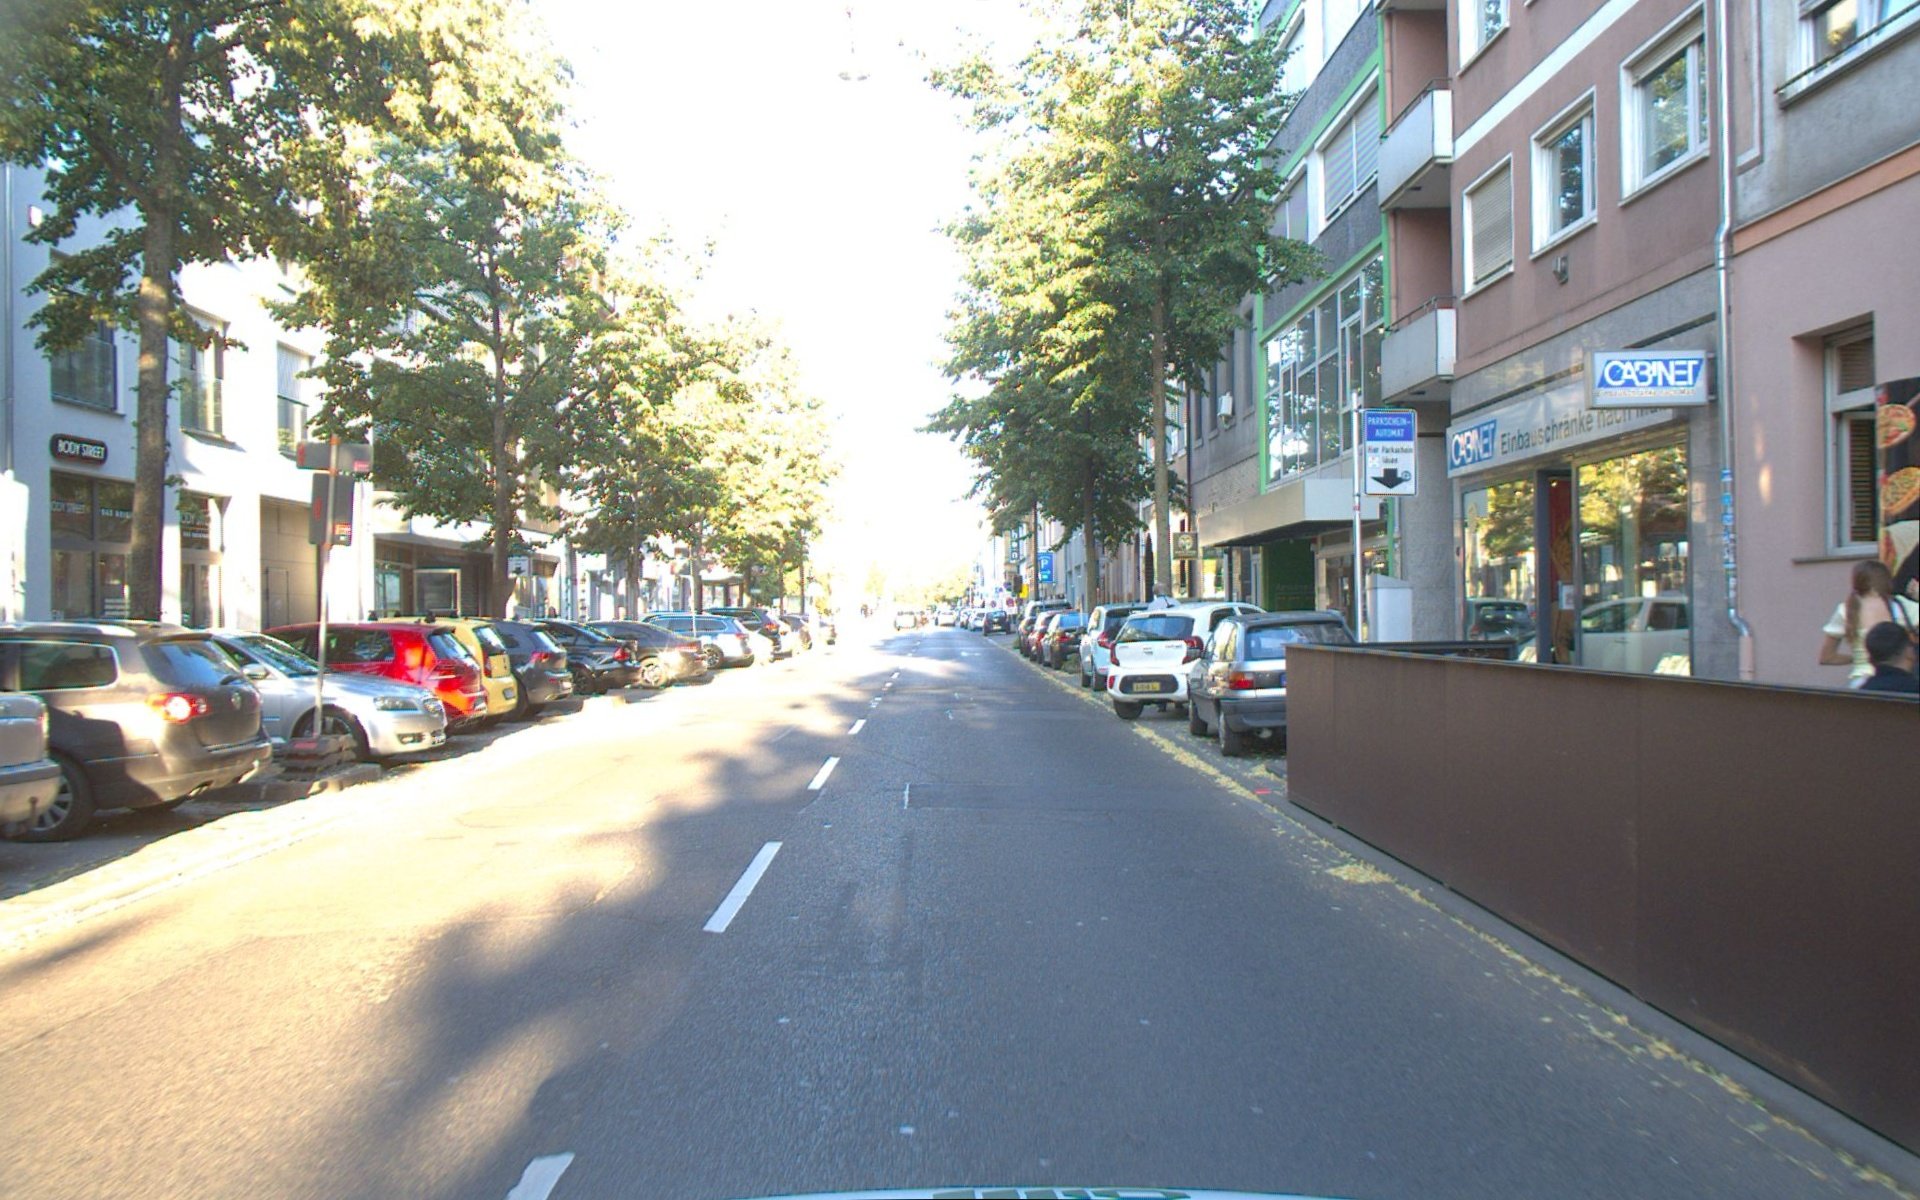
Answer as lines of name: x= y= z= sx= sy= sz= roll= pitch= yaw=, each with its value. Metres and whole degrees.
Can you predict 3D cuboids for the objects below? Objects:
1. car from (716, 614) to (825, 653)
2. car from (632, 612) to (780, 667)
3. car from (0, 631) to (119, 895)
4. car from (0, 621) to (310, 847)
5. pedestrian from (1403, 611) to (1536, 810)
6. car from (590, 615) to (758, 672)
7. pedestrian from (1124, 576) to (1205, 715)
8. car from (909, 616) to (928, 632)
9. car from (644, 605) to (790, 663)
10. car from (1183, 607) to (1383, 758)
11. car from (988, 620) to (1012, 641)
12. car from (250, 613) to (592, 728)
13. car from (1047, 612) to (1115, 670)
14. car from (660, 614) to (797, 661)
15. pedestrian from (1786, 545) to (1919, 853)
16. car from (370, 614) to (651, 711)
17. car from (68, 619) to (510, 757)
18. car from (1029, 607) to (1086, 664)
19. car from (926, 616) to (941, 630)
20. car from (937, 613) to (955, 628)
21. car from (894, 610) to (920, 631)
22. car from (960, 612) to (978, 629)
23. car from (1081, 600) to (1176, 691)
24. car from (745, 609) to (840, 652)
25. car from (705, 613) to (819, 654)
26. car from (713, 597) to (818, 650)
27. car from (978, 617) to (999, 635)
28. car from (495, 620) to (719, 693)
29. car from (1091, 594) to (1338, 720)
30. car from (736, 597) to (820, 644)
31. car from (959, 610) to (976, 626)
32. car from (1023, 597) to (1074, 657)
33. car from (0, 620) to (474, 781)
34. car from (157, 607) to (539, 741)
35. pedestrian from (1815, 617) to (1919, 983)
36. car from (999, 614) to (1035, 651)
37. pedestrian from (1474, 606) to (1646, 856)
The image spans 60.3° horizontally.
car: x=-7.958 y=1.406 z=69.782 sx=4.351 sy=1.606 sz=1.919 roll=0 pitch=-1 yaw=0
car: x=-7.744 y=1.195 z=50.650 sx=4.216 sy=1.626 sz=1.919 roll=0 pitch=-1 yaw=0
car: x=-7.641 y=0.952 z=9.838 sx=4.351 sy=1.493 sz=1.779 roll=0 pitch=-1 yaw=0
car: x=-7.374 y=0.941 z=12.288 sx=4.351 sy=1.533 sz=1.844 roll=0 pitch=-1 yaw=0
pedestrian: x=3.733 y=0.790 z=12.171 sx=0.711 sy=1.402 sz=0.781 roll=-1 pitch=0 yaw=-1
car: x=-7.955 y=1.201 z=46.247 sx=4.351 sy=1.549 sz=1.919 roll=0 pitch=-1 yaw=0
pedestrian: x=2.938 y=0.650 z=23.869 sx=0.900 sy=1.960 sz=1.015 roll=0 pitch=-1 yaw=-11
car: x=-4.063 y=2.375 z=162.969 sx=1.716 sy=1.567 sz=3.303 roll=-1 pitch=-1 yaw=0
car: x=-7.716 y=1.078 z=52.754 sx=4.351 sy=1.790 sz=1.919 roll=0 pitch=-1 yaw=0
car: x=3.418 y=0.820 z=18.071 sx=1.511 sy=1.458 sz=3.678 roll=-1 pitch=0 yaw=1
car: x=2.471 y=1.886 z=102.722 sx=1.482 sy=1.298 sz=3.303 roll=-1 pitch=-1 yaw=0
car: x=-7.767 y=0.995 z=24.144 sx=4.351 sy=1.595 sz=1.919 roll=0 pitch=-1 yaw=0
car: x=3.129 y=1.035 z=43.297 sx=1.482 sy=1.430 sz=3.836 roll=-1 pitch=-1 yaw=0
car: x=-7.771 y=1.241 z=55.872 sx=4.351 sy=1.525 sz=1.919 roll=0 pitch=-1 yaw=0
pedestrian: x=5.228 y=0.532 z=9.328 sx=0.779 sy=1.654 sz=0.913 roll=-1 pitch=0 yaw=12
car: x=-7.761 y=1.065 z=28.857 sx=4.351 sy=1.595 sz=1.919 roll=0 pitch=-1 yaw=0
car: x=-7.644 y=0.979 z=19.159 sx=4.351 sy=1.484 sz=1.859 roll=0 pitch=-1 yaw=0
car: x=2.840 y=1.019 z=48.582 sx=1.482 sy=1.589 sz=3.513 roll=-1 pitch=-1 yaw=0
car: x=-2.897 y=2.521 z=182.992 sx=1.537 sy=1.532 sz=3.303 roll=-1 pitch=-1 yaw=0
car: x=-1.430 y=2.088 z=169.483 sx=1.685 sy=1.501 sz=3.303 roll=-1 pitch=-1 yaw=0
car: x=-4.209 y=1.638 z=131.827 sx=1.888 sy=1.599 sz=3.303 roll=-1 pitch=-1 yaw=0
car: x=0.854 y=1.940 z=155.172 sx=1.716 sy=1.567 sz=3.303 roll=-1 pitch=-1 yaw=0
car: x=3.119 y=0.820 z=31.149 sx=1.482 sy=1.605 sz=3.218 roll=-1 pitch=-1 yaw=1
car: x=-8.079 y=1.459 z=80.101 sx=4.351 sy=1.994 sz=1.919 roll=-1 pitch=-1 yaw=0
car: x=-7.976 y=1.363 z=66.959 sx=4.351 sy=1.606 sz=1.919 roll=0 pitch=-1 yaw=0
car: x=-8.450 y=1.032 z=72.096 sx=4.351 sy=2.238 sz=1.919 roll=0 pitch=-1 yaw=0
car: x=2.084 y=1.887 z=120.948 sx=1.482 sy=1.285 sz=3.303 roll=-1 pitch=-1 yaw=0
car: x=-7.485 y=1.191 z=35.381 sx=4.351 sy=1.474 sz=1.919 roll=0 pitch=-1 yaw=0
car: x=3.642 y=0.728 z=23.228 sx=1.645 sy=1.616 sz=3.801 roll=-1 pitch=0 yaw=42
car: x=-9.903 y=1.096 z=90.168 sx=4.351 sy=2.477 sz=1.919 roll=-1 pitch=-1 yaw=0
car: x=0.676 y=1.580 z=143.683 sx=1.482 sy=1.321 sz=3.303 roll=-1 pitch=-1 yaw=0
car: x=2.890 y=0.873 z=54.815 sx=1.482 sy=1.897 sz=4.235 roll=-1 pitch=-1 yaw=1
car: x=-7.402 y=0.980 z=16.857 sx=4.351 sy=1.510 sz=1.809 roll=0 pitch=-1 yaw=0
car: x=-7.998 y=0.942 z=21.911 sx=4.351 sy=1.667 sz=1.859 roll=0 pitch=-1 yaw=0
pedestrian: x=4.048 y=0.773 z=6.725 sx=0.711 sy=1.402 sz=0.781 roll=-1 pitch=0 yaw=-1
car: x=2.500 y=1.422 z=73.361 sx=1.482 sy=1.589 sz=3.773 roll=-1 pitch=-1 yaw=1
pedestrian: x=3.531 y=0.746 z=9.787 sx=0.711 sy=1.402 sz=0.781 roll=-1 pitch=0 yaw=-1
